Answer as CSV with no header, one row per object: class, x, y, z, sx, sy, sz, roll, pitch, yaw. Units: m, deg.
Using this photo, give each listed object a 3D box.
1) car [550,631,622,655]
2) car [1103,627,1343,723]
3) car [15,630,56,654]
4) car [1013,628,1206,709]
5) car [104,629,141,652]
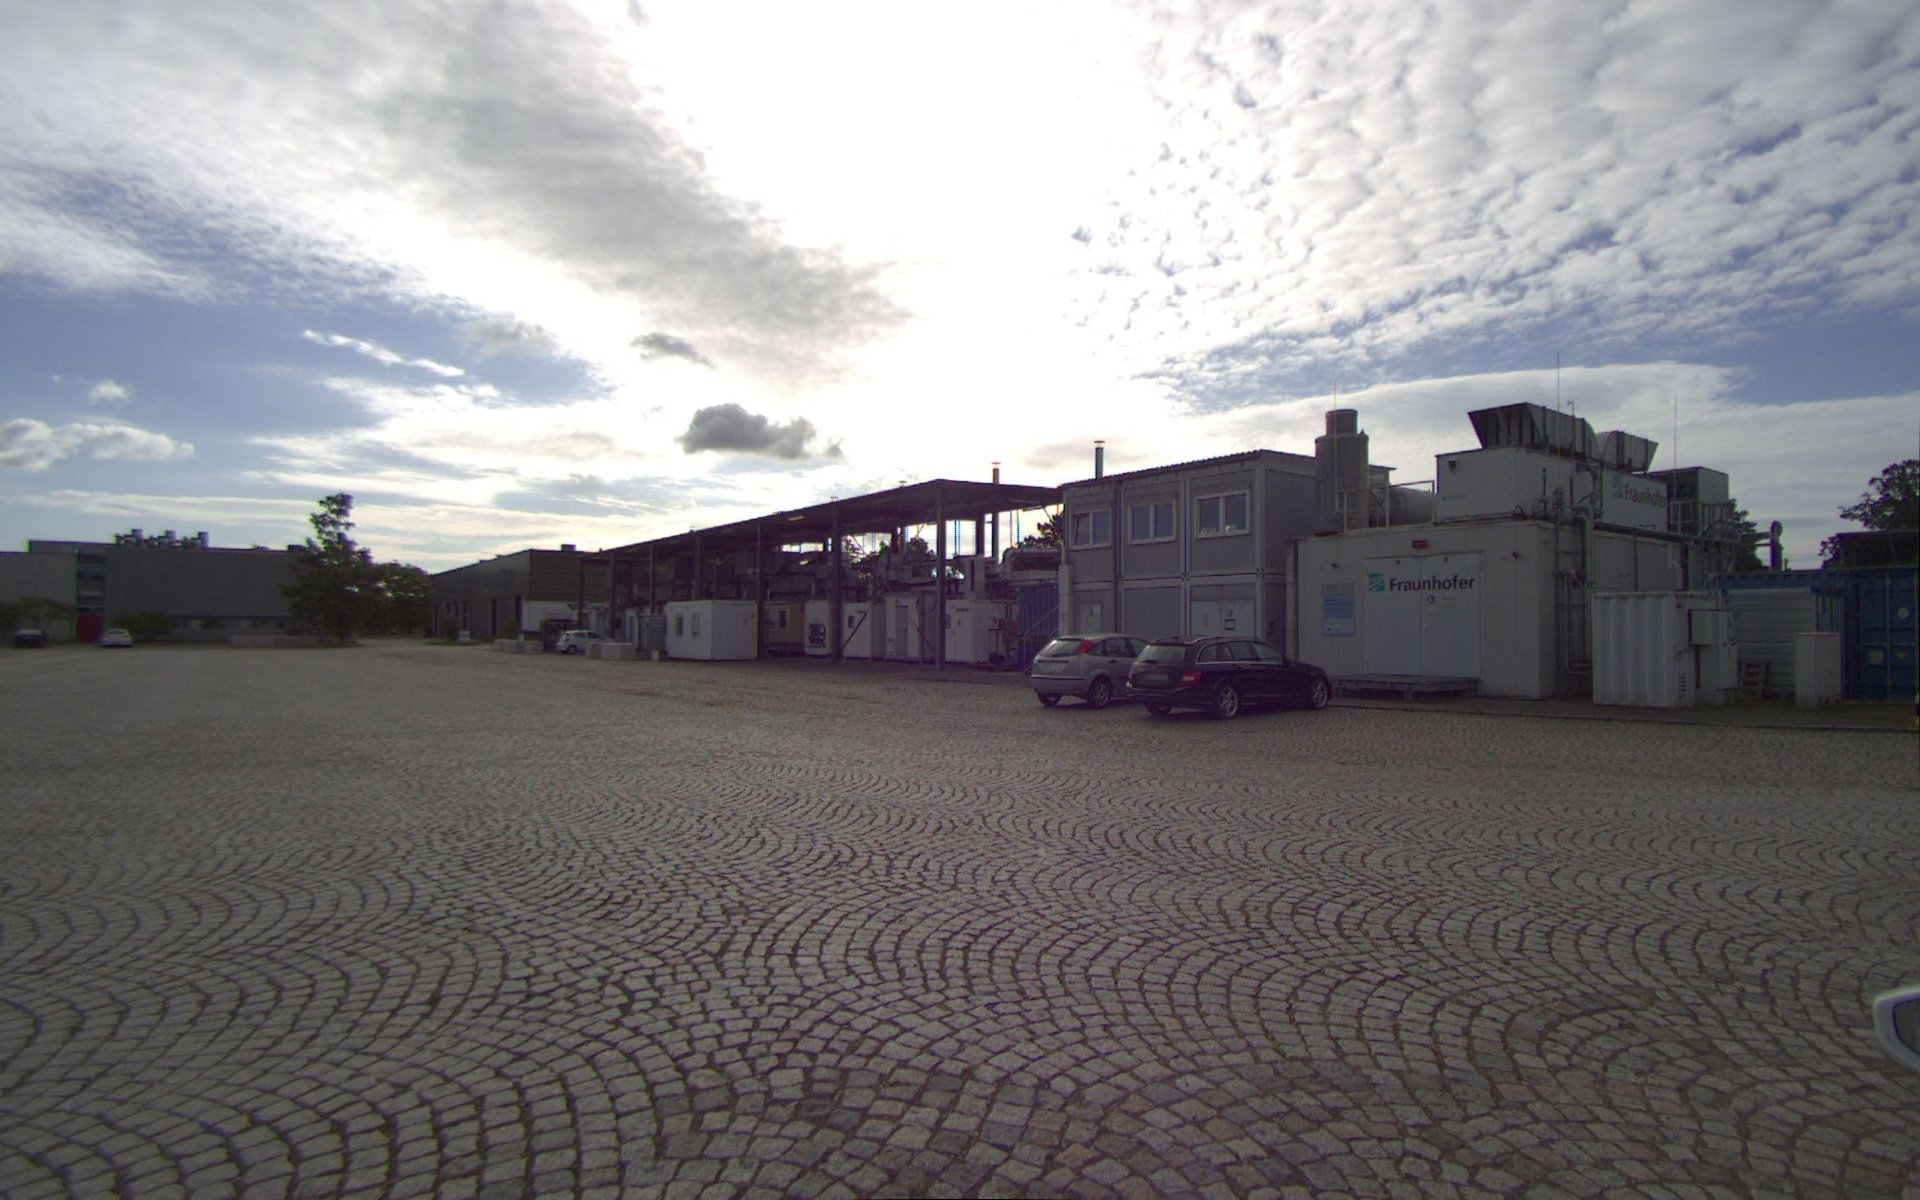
car,-24.352,2.760,65.467,3.965,1.512,1.978,2,-2,-38
car,4.992,1.304,18.826,4.487,1.472,2.022,-1,-1,-37
car,-72.933,3.294,79.297,1.982,1.834,3.958,1,-2,-37
car,3.258,1.396,21.525,4.012,1.495,1.892,0,-1,-39
car,-69.050,3.292,82.859,2.134,1.834,3.958,1,-2,-37
